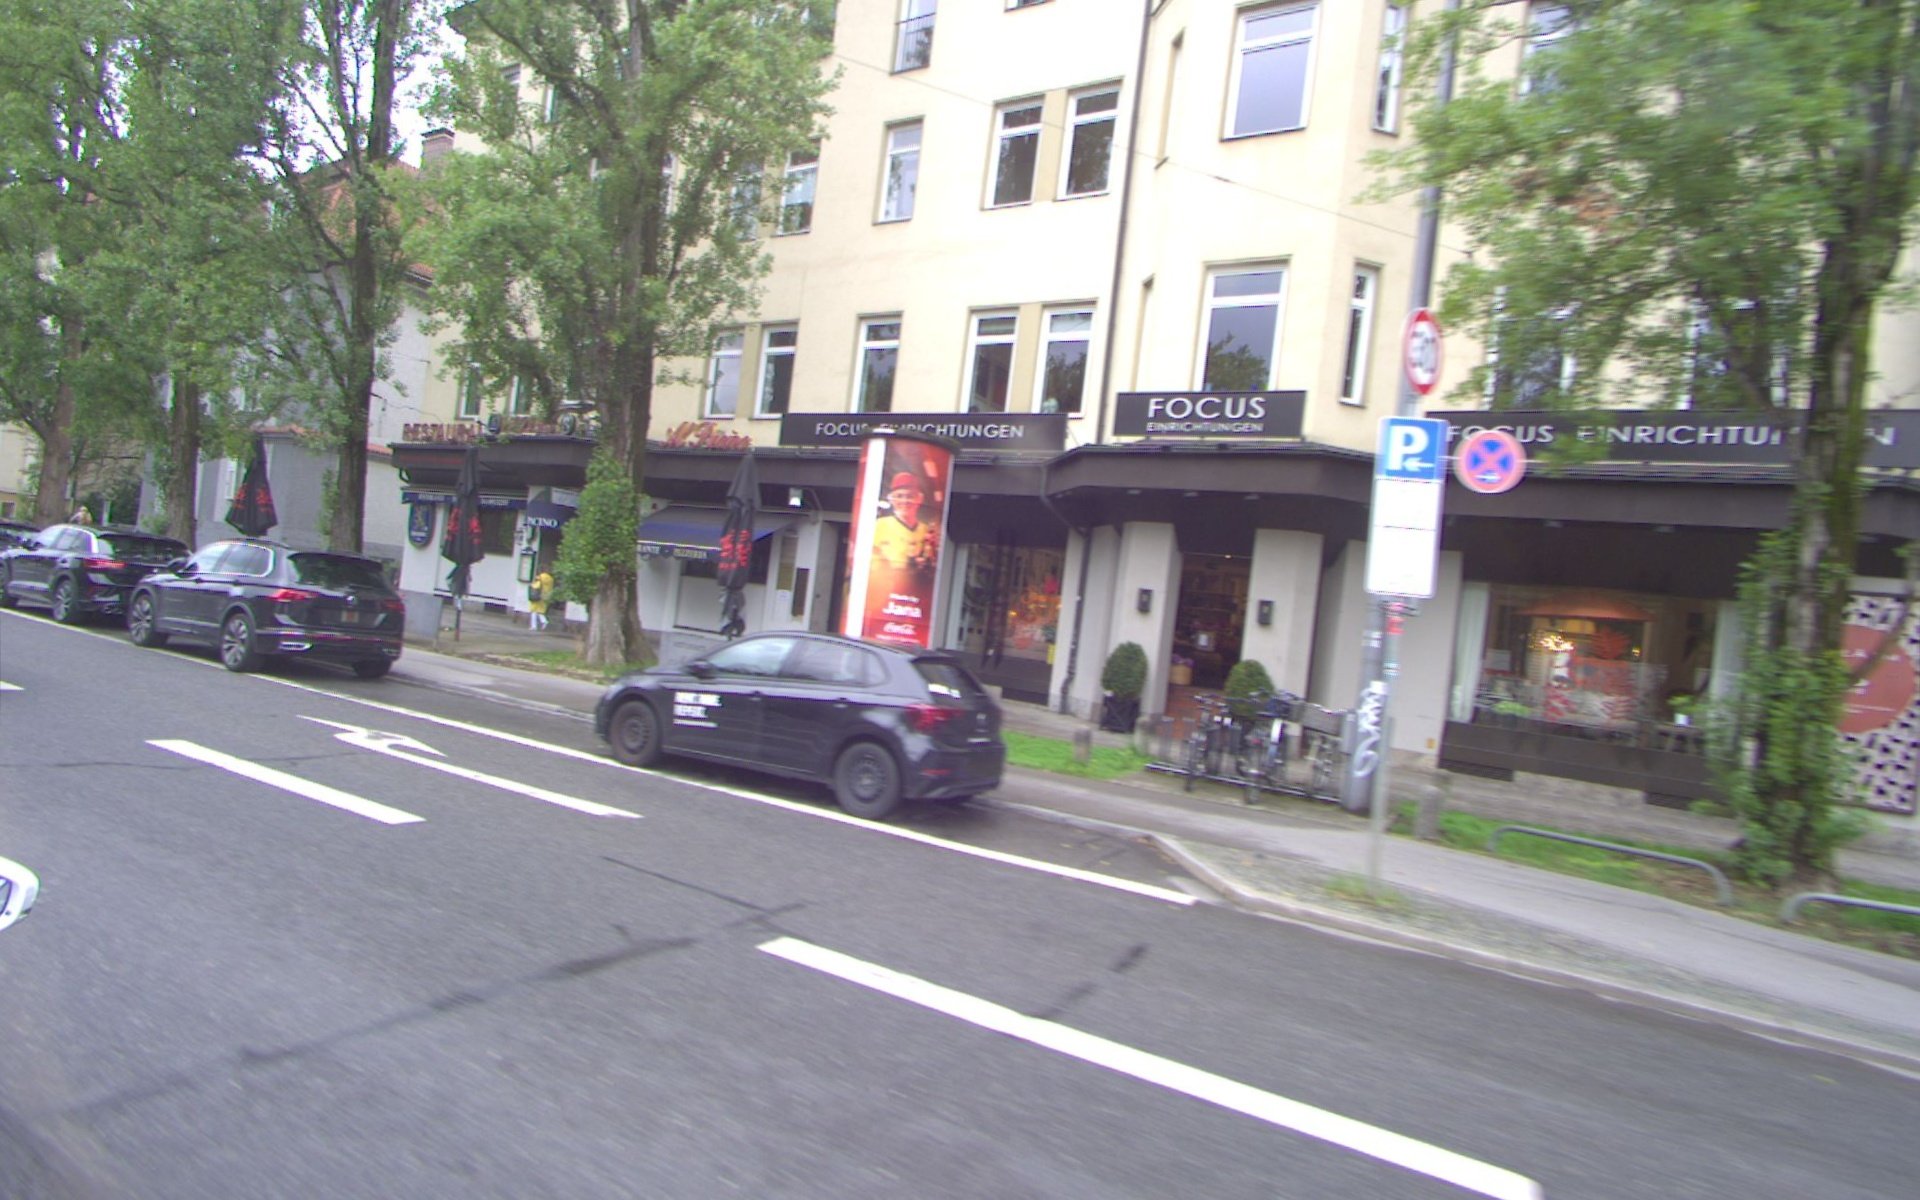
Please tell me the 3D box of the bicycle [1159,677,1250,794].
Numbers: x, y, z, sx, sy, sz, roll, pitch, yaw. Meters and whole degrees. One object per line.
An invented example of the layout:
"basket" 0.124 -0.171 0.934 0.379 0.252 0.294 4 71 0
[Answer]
"bicycle" 2.877 1.532 11.717 0.487 1.199 1.888 7 -1 27

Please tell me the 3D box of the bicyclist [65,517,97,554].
"bicyclist" -34.681 -2.558 39.692 0.694 1.330 0.661 7 0 29

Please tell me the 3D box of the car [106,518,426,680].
"car" -9.421 -0.038 13.572 4.395 1.631 1.724 6 -1 30

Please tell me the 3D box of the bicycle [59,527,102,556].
"bicycle" -34.704 -2.303 39.687 1.870 0.934 0.654 6 0 29

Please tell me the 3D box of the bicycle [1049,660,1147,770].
"bicycle" 1.739 1.388 12.406 0.487 1.199 1.888 7 -1 27

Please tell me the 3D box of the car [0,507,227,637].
"car" -14.066 -0.493 16.358 4.232 1.631 1.803 6 -1 30

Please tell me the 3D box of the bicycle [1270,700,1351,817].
"bicycle" 3.894 1.690 11.080 0.487 1.094 1.888 7 -1 27

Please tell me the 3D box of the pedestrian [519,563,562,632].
"pedestrian" -10.200 -0.052 24.464 0.487 1.581 0.574 9 0 31

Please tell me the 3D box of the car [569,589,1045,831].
"car" -1.436 0.906 9.350 3.930 1.483 1.804 6 -2 27

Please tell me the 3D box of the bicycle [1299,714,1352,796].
"bicycle" 4.610 1.923 12.650 0.382 0.894 1.370 7 -1 27

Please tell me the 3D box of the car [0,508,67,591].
"car" -19.119 -1.145 19.161 4.307 1.415 1.803 6 -1 30

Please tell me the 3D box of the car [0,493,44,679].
"car" -10.456 -0.423 8.884 4.620 1.568 1.868 7 0 26

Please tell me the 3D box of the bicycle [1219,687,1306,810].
"bicycle" 3.428 1.612 11.299 0.487 1.199 1.888 7 -1 27
